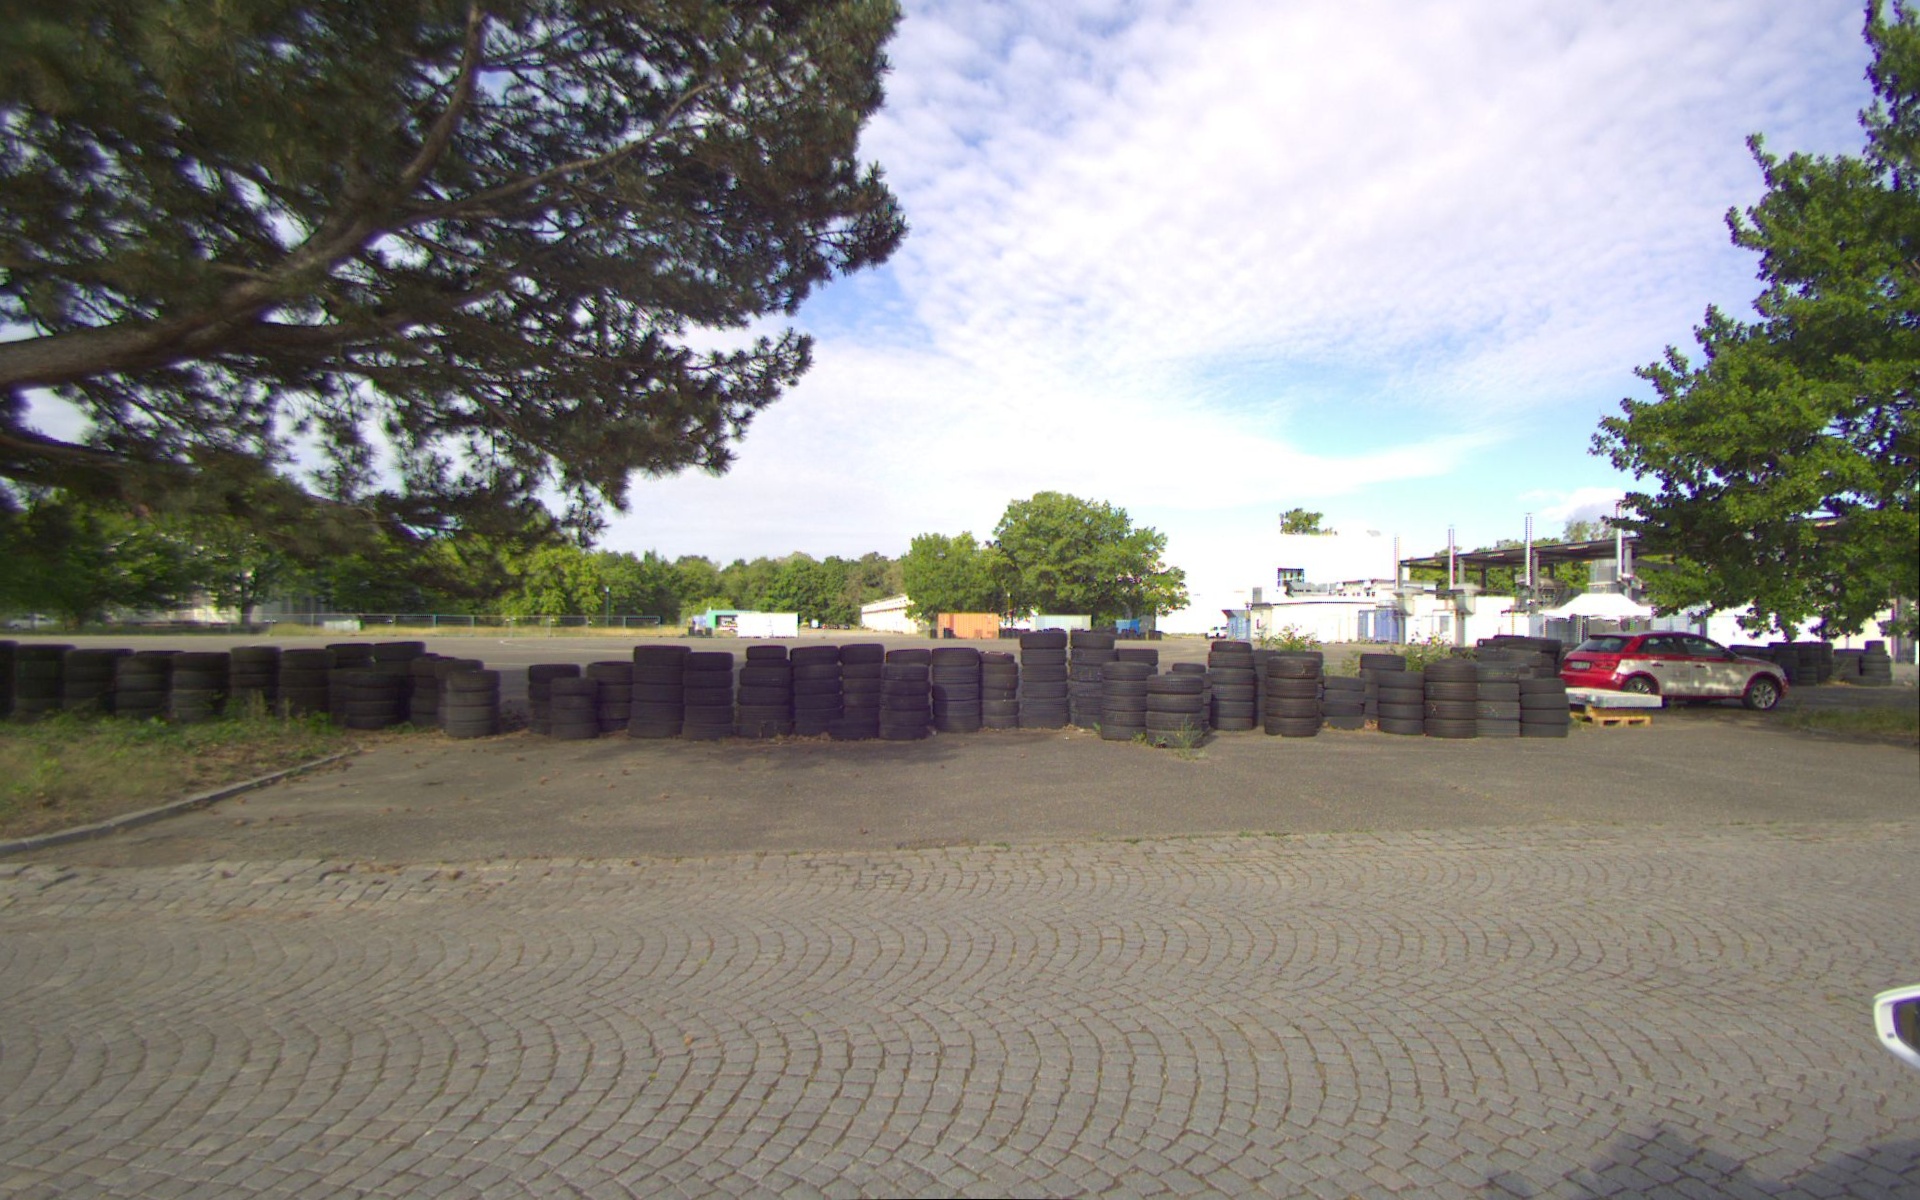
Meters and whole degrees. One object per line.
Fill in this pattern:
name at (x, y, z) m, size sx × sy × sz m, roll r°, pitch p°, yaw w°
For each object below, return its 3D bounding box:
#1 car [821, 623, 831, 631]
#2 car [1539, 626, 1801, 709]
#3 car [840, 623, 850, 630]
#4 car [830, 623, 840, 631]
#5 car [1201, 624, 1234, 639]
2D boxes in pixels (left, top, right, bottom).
car at (-33.349, 6.720, 249.865) m, size 1.965 × 1.773 × 3.990 m, roll 1°, pitch -1°, yaw -13°
car at (13.599, 1.271, 19.375) m, size 3.923 × 1.483 × 1.727 m, roll 1°, pitch -1°, yaw -3°
car at (-28.727, 6.648, 250.943) m, size 1.965 × 1.773 × 3.990 m, roll 1°, pitch -1°, yaw -13°
car at (-31.185, 6.718, 250.470) m, size 2.003 × 1.832 × 3.990 m, roll 1°, pitch -1°, yaw -13°
car at (29.136, 3.574, 113.826) m, size 1.842 × 1.585 × 4.538 m, roll 1°, pitch -1°, yaw -12°
